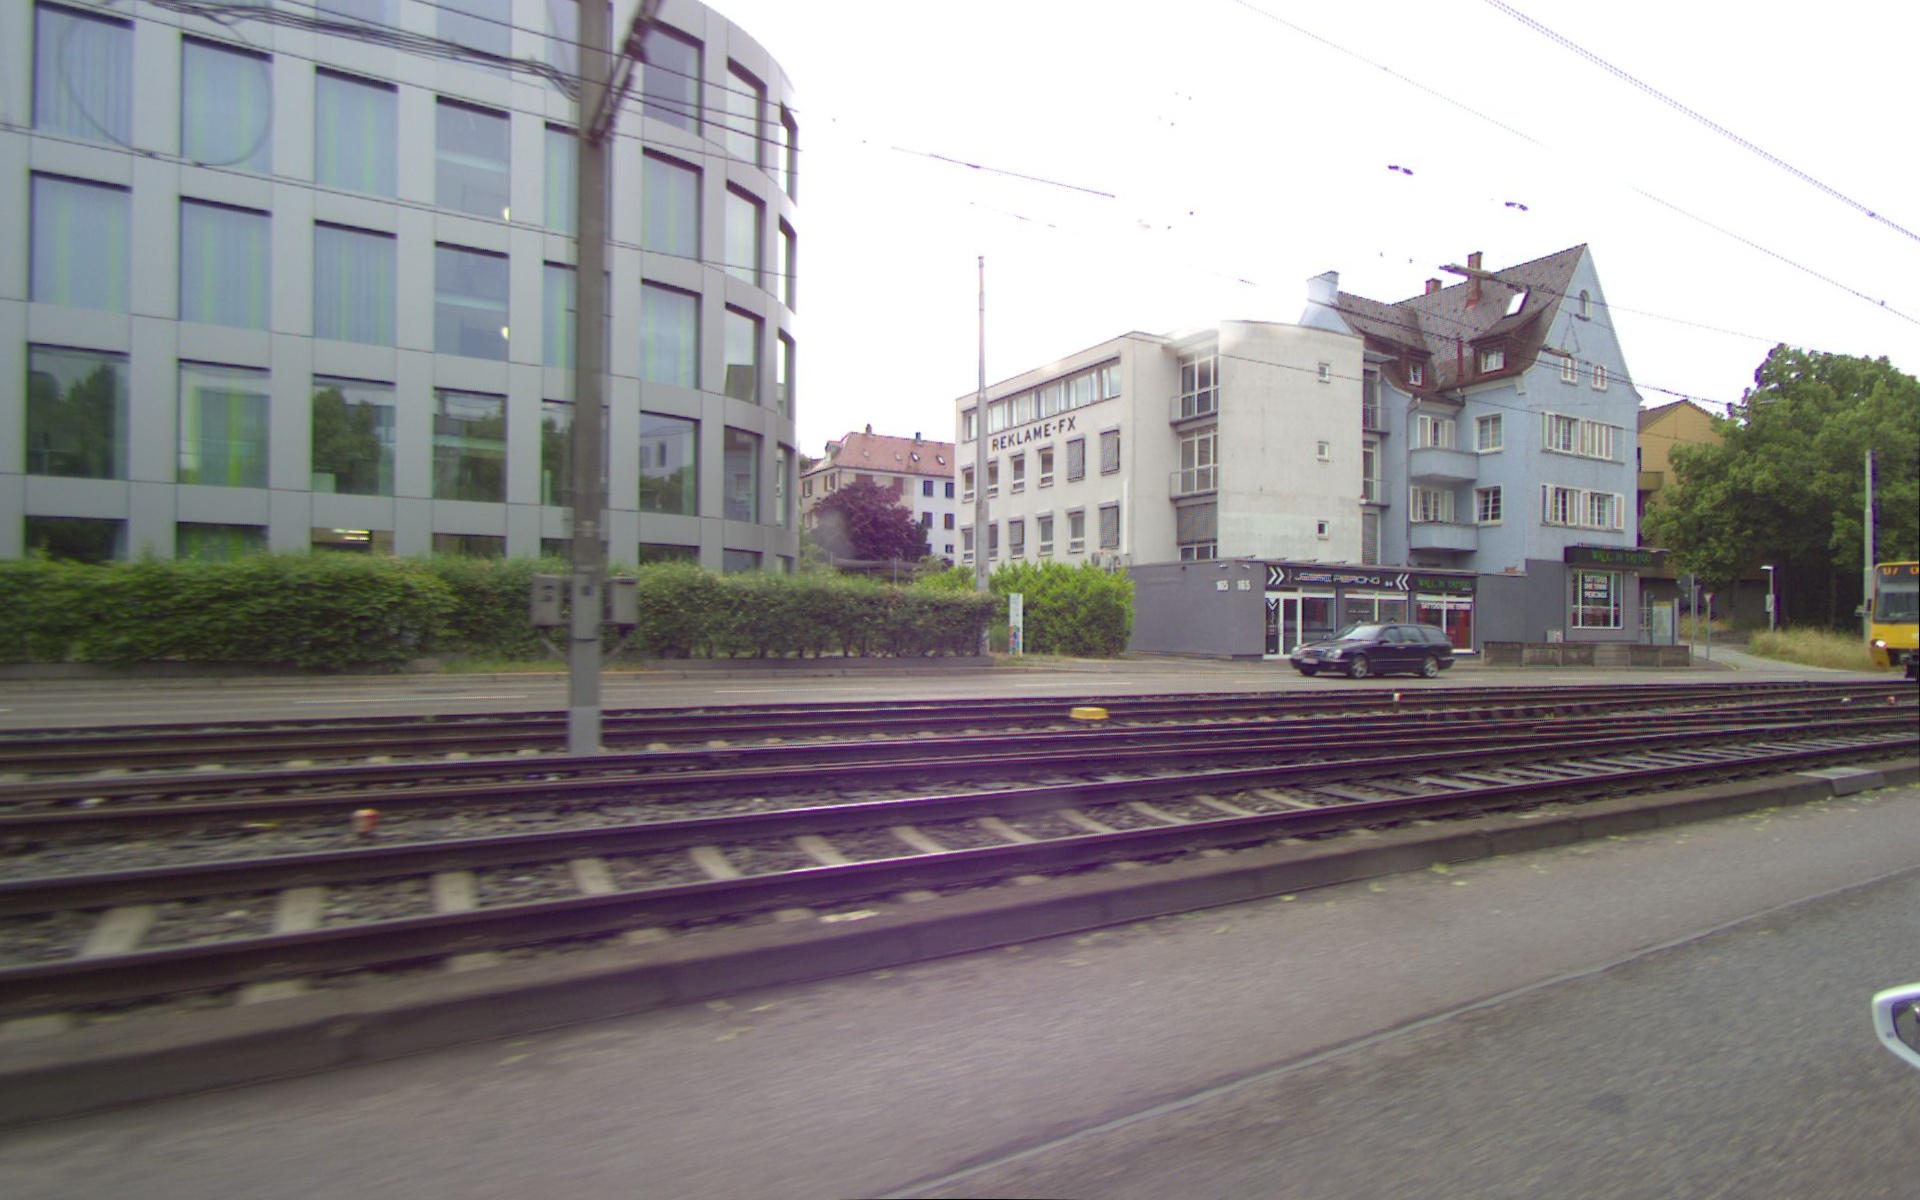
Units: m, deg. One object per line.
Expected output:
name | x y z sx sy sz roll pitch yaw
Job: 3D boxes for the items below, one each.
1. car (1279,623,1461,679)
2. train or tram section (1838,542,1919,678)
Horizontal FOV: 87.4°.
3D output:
car | 10.848 1.349 26.485 4.767 1.342 1.894 2 -2 -29
train or tram section | 33.338 0.540 32.099 14.609 3.846 3.201 2 -2 -29
